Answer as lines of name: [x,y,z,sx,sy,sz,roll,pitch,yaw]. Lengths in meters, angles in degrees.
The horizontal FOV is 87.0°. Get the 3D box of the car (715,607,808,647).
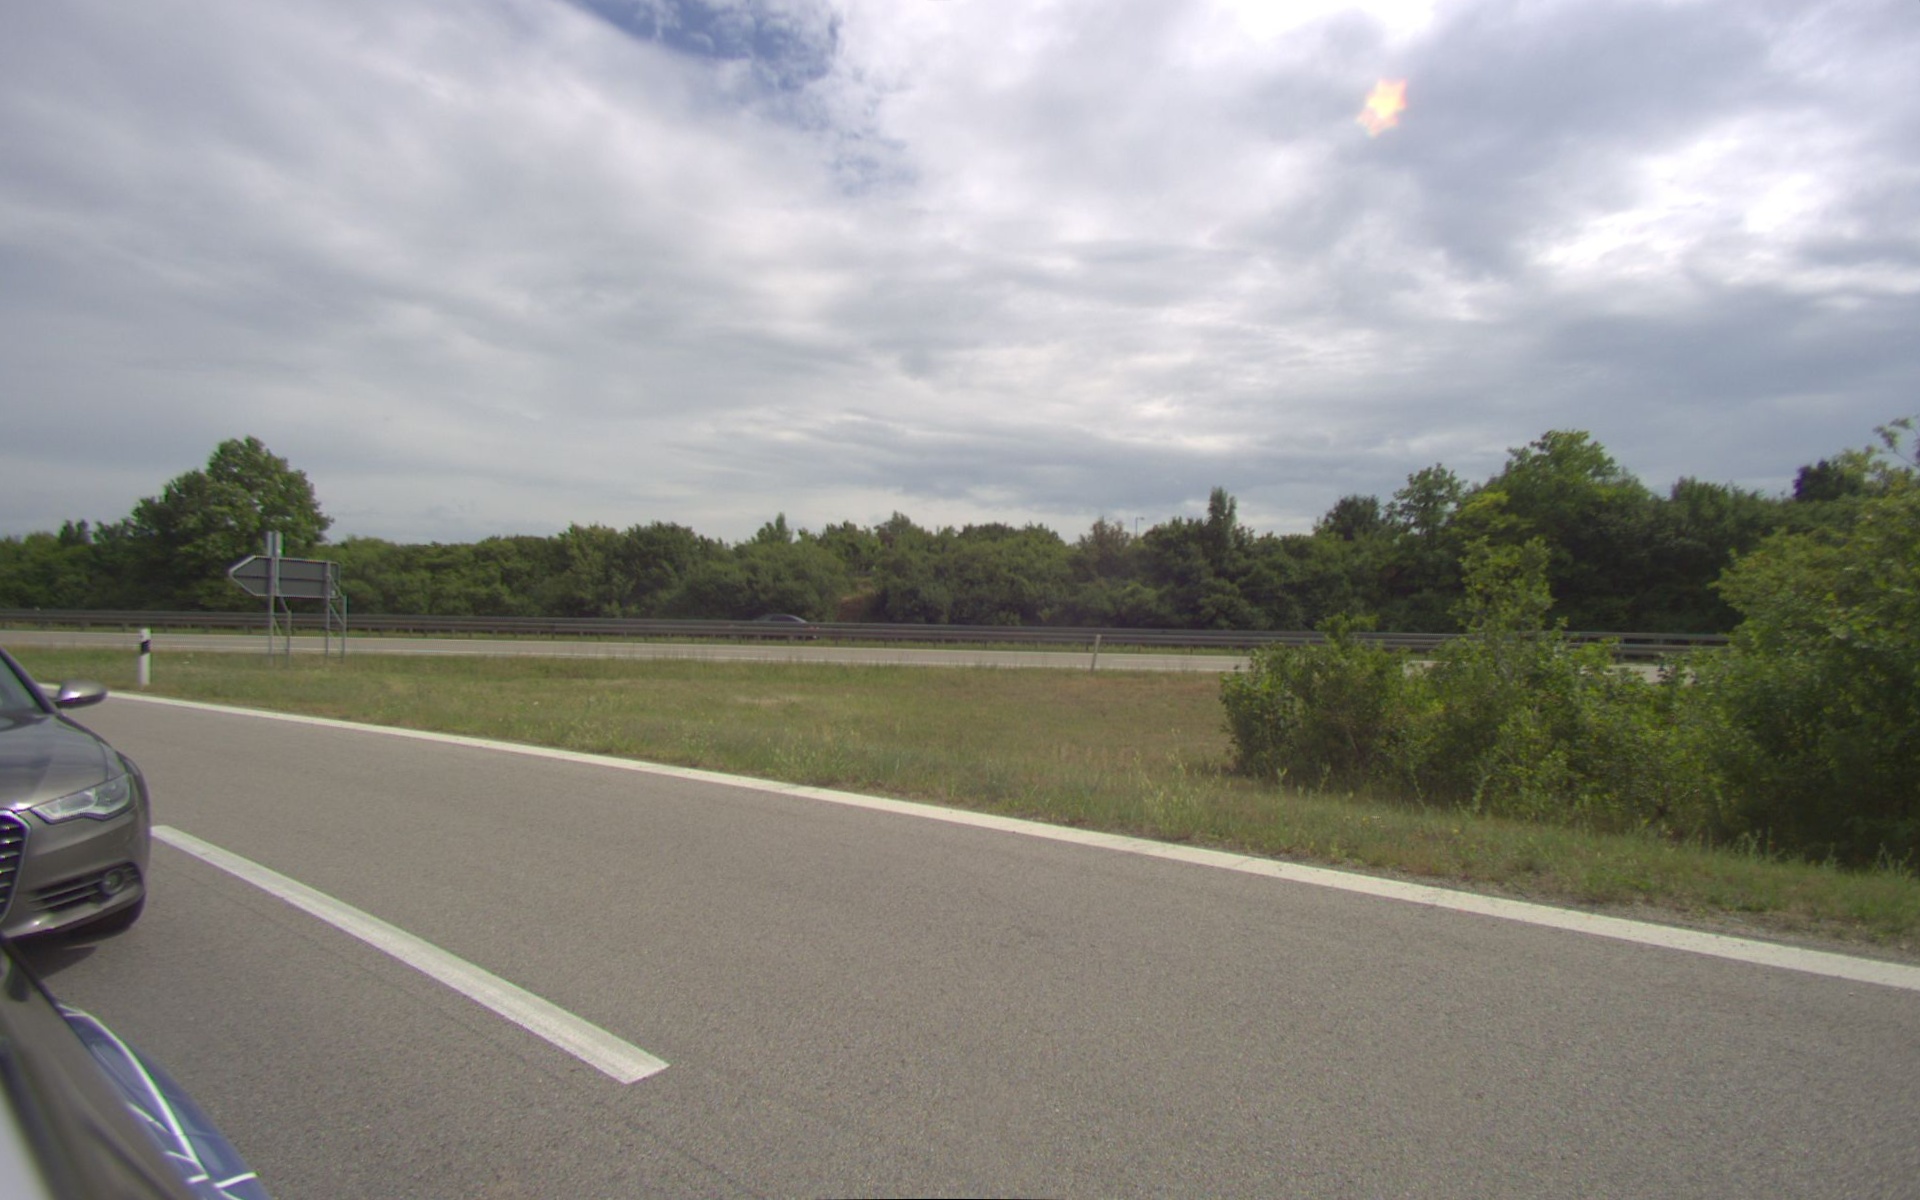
car: [-9.751,1.314,49.953,4.156,1.887,1.841,-1,0,7]

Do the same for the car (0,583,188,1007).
car: [-5.469,0.730,4.775,4.535,1.526,1.973,-1,-1,40]
